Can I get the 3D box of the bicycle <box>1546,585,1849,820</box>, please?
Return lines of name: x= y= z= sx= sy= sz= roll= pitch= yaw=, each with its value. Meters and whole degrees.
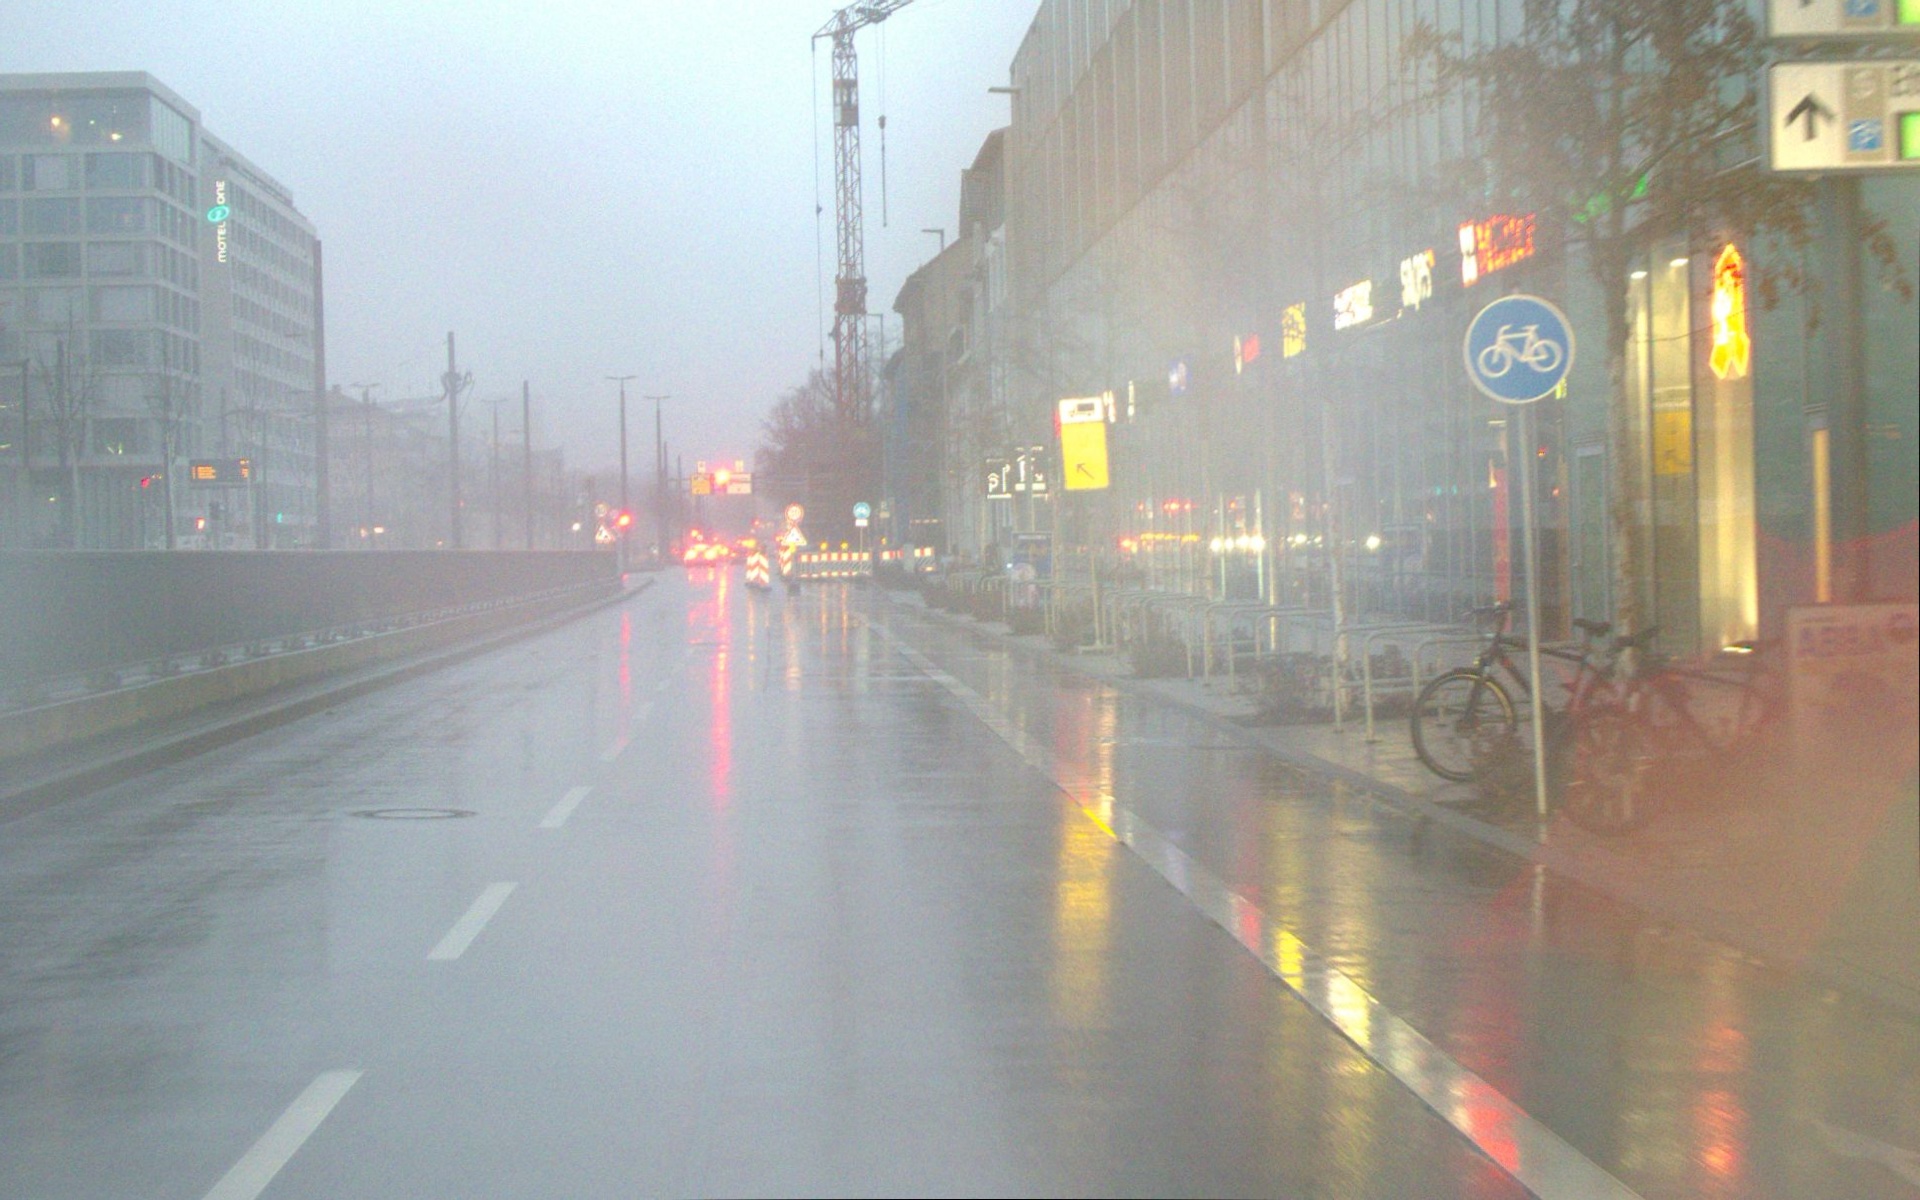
bicycle: x=4.162 y=0.555 z=19.452 sx=1.558 sy=1.257 sz=0.665 roll=1 pitch=1 yaw=44

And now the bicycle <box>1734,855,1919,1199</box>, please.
bicycle: x=1.954 y=1.002 z=5.610 sx=0.943 sy=0.996 sz=2.240 roll=0 pitch=0 yaw=2

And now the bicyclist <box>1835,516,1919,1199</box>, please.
bicyclist: x=1.951 y=0.597 z=5.333 sx=0.943 sy=1.458 sz=1.066 roll=0 pitch=1 yaw=2

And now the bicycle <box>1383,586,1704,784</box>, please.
bicycle: x=3.762 y=0.538 z=22.237 sx=1.903 sy=1.171 sz=0.667 roll=-2 pitch=1 yaw=-3
